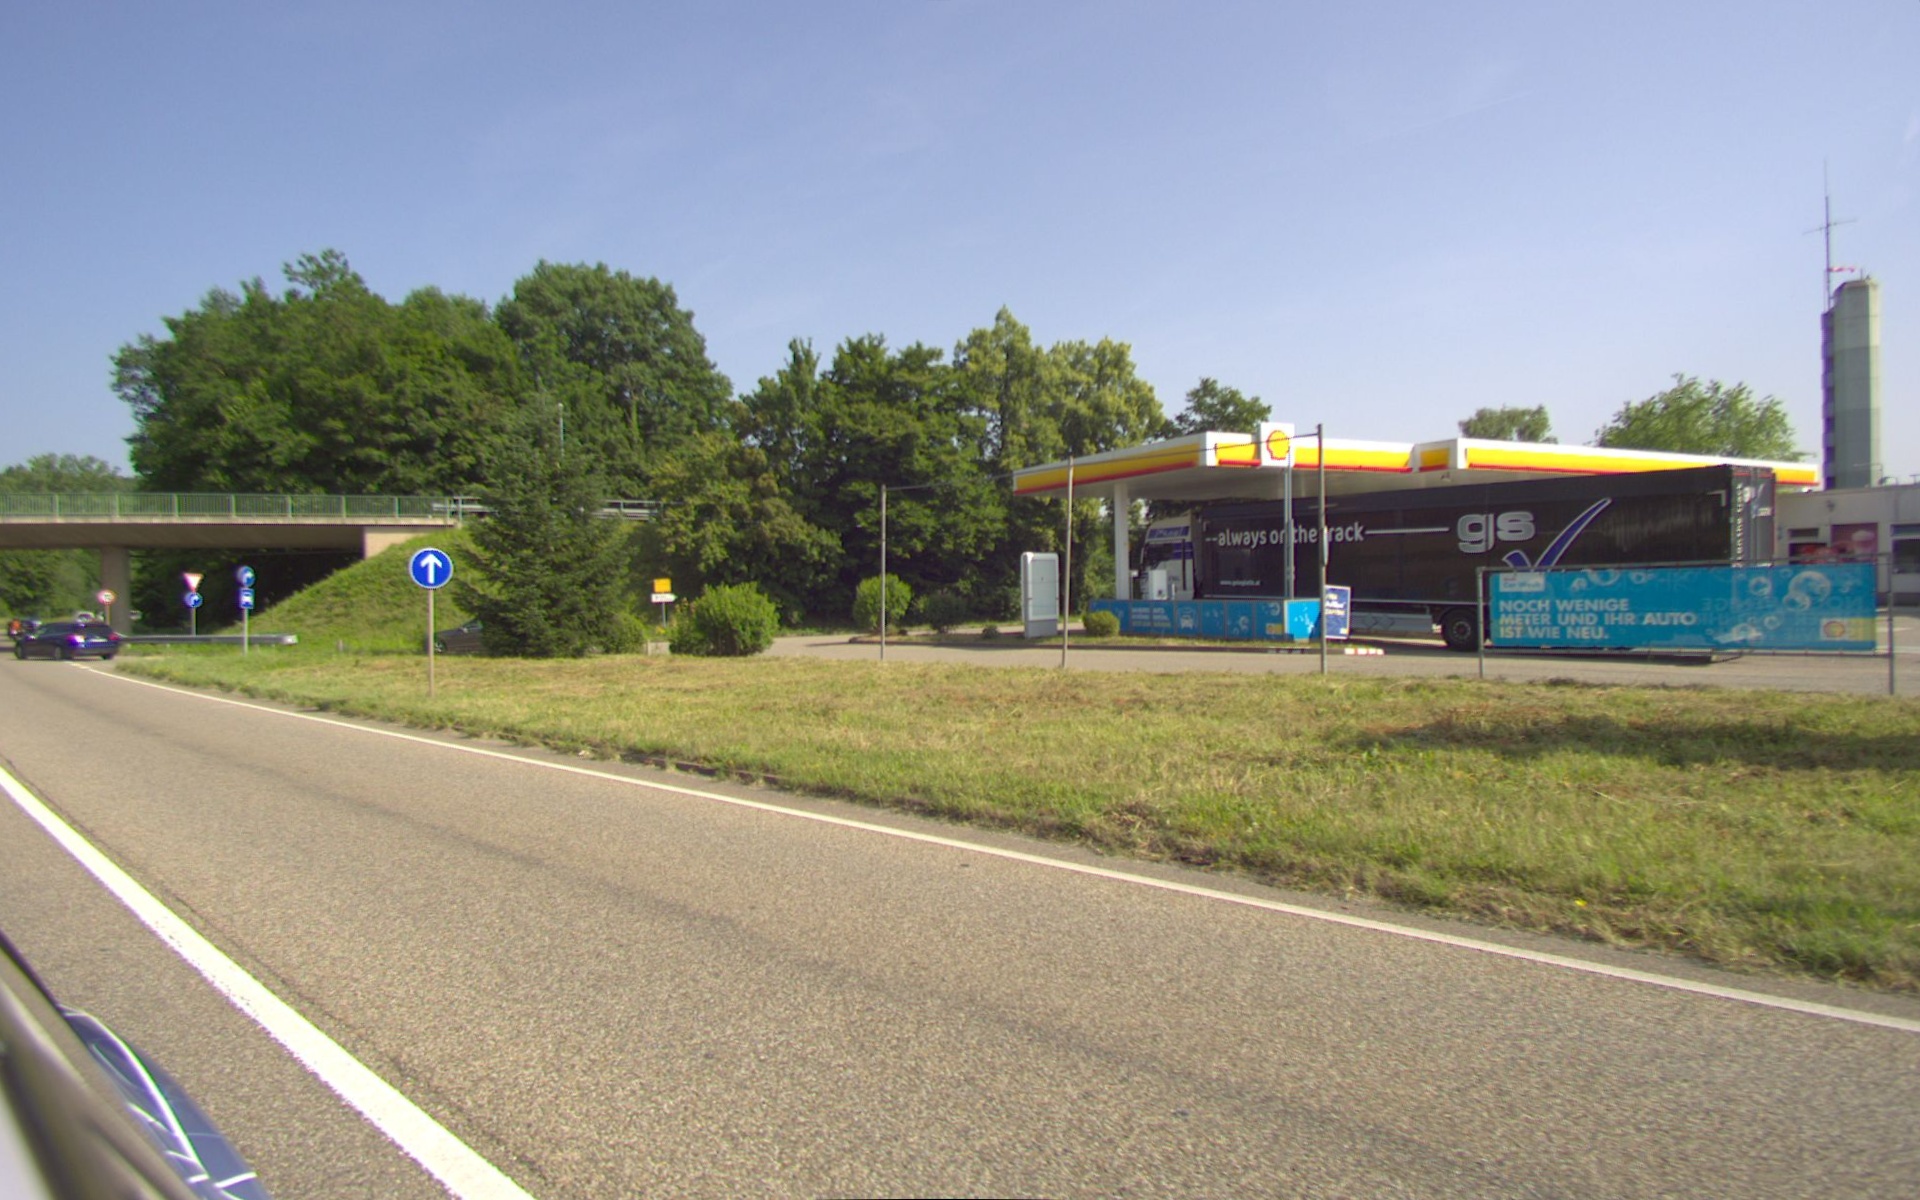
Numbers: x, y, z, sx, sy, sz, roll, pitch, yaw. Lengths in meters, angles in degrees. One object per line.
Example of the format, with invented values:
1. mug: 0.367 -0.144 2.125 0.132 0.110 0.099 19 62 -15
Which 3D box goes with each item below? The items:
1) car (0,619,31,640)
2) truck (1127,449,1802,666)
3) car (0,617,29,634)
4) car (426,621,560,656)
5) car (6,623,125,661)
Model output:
1. car: -64.054 1.964 68.356 3.923 1.366 1.658 -2 -2 44
2. truck: 11.499 -0.767 27.124 3.012 4.165 16.815 -1 0 -35
3. car: -81.376 2.188 87.093 3.923 1.366 1.658 -2 -2 44
4. car: -16.806 1.379 36.519 4.044 1.181 1.808 -1 -1 2
5. car: -33.930 1.571 38.385 3.890 1.366 1.673 -1 -1 19
